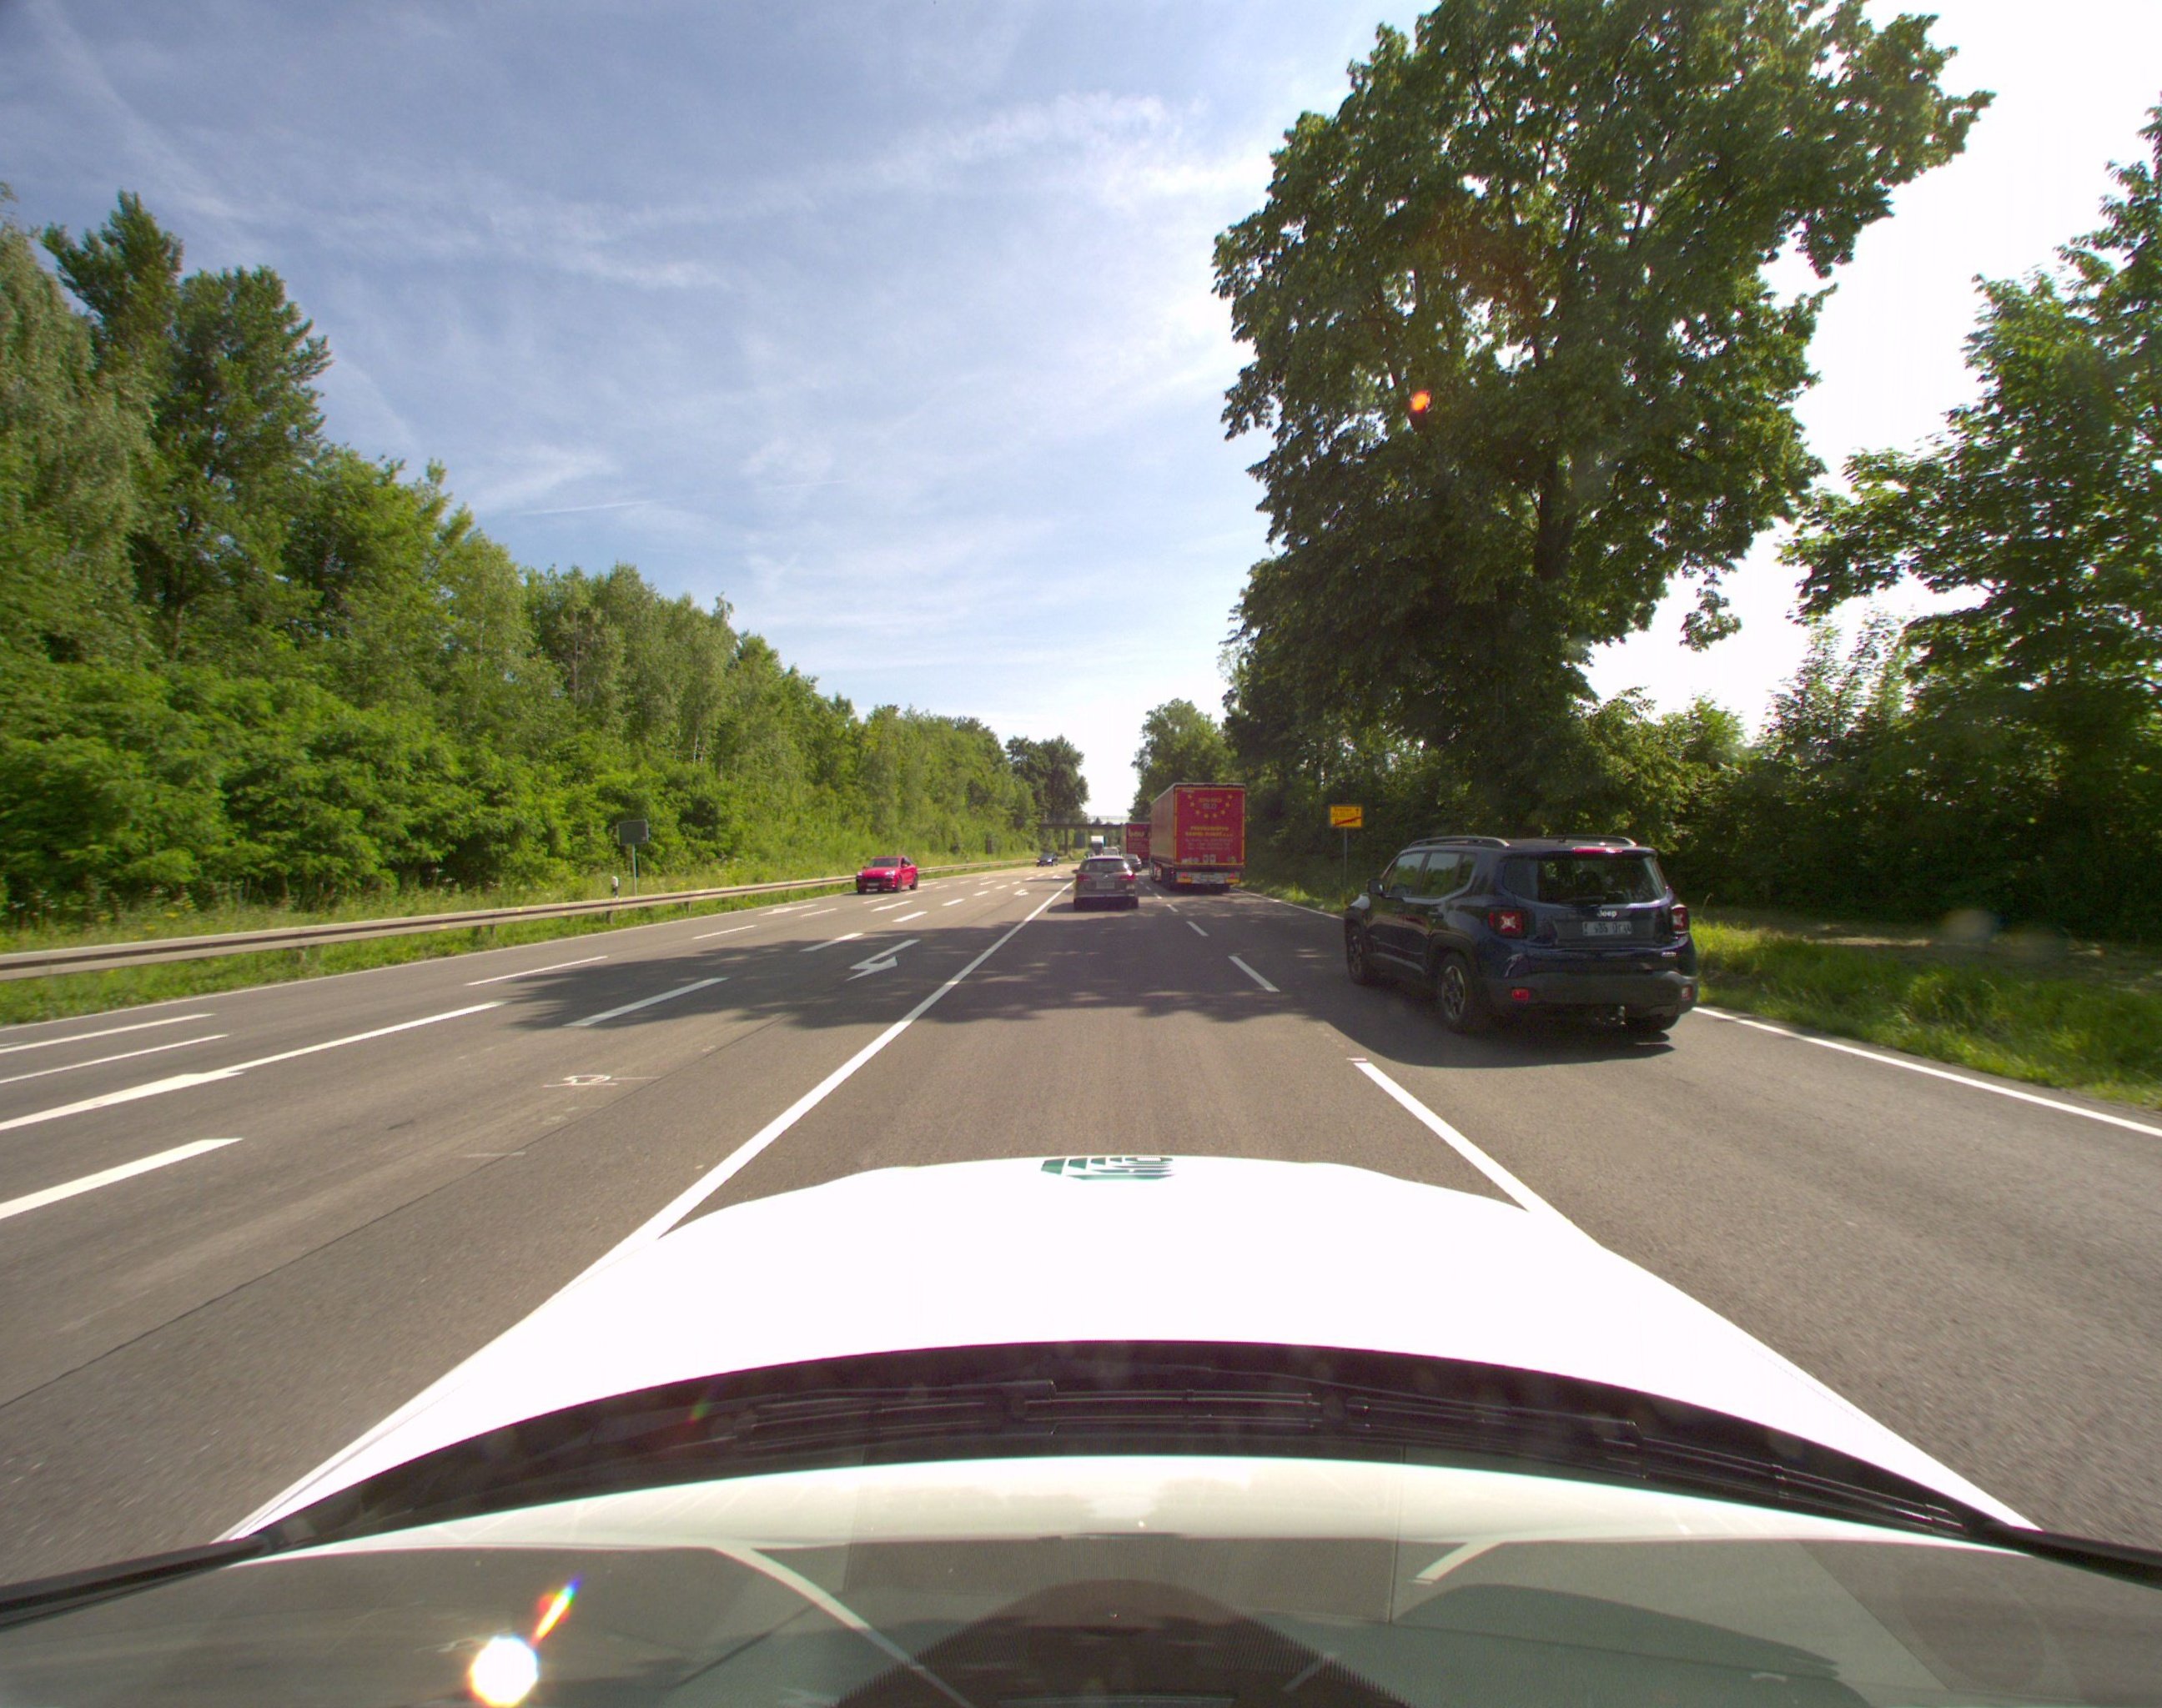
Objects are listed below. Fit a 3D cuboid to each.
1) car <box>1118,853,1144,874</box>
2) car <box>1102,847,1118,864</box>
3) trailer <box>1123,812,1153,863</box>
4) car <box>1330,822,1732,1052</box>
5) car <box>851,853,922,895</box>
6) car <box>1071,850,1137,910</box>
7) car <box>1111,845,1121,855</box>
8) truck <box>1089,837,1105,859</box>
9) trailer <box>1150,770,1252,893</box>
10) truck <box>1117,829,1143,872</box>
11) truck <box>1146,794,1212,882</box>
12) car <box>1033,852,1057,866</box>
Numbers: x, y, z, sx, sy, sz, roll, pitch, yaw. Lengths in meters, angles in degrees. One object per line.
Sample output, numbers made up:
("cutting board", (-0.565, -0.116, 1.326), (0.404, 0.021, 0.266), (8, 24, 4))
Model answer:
("car", (3.762, 0.734, 62.120), (1.764, 1.513, 4.001), (-2, -1, 1))
("car", (3.357, 0.181, 96.159), (1.764, 1.936, 3.978), (-2, -1, 1))
("trailer", (5.308, -1.350, 76.119), (2.385, 4.243, 13.090), (-2, -1, 4))
("car", (3.965, 0.635, 8.078), (1.764, 1.654, 4.000), (-2, -1, 0))
("car", (-9.093, 0.885, 38.509), (1.965, 1.796, 4.811), (-2, -1, 2))
("car", (0.646, 0.693, 23.225), (1.685, 1.513, 4.001), (-2, -1, 1))
("car", (7.763, -0.803, 179.869), (1.986, 2.014, 4.001), (-2, -1, 1))
("truck", (2.953, -1.035, 152.761), (2.764, 3.931, 9.467), (-1, -1, 1))
("trailer", (4.823, -0.766, 35.462), (2.829, 4.365, 13.170), (0, 0, 1))
("truck", (4.966, -0.347, 82.062), (2.396, 4.128, 5.526), (-2, -1, 3))
("truck", (4.974, -0.753, 42.368), (2.860, 4.281, 5.840), (0, -1, 1))
("car", (-3.898, 0.568, 88.460), (1.953, 1.415, 4.006), (-2, -1, 5))
